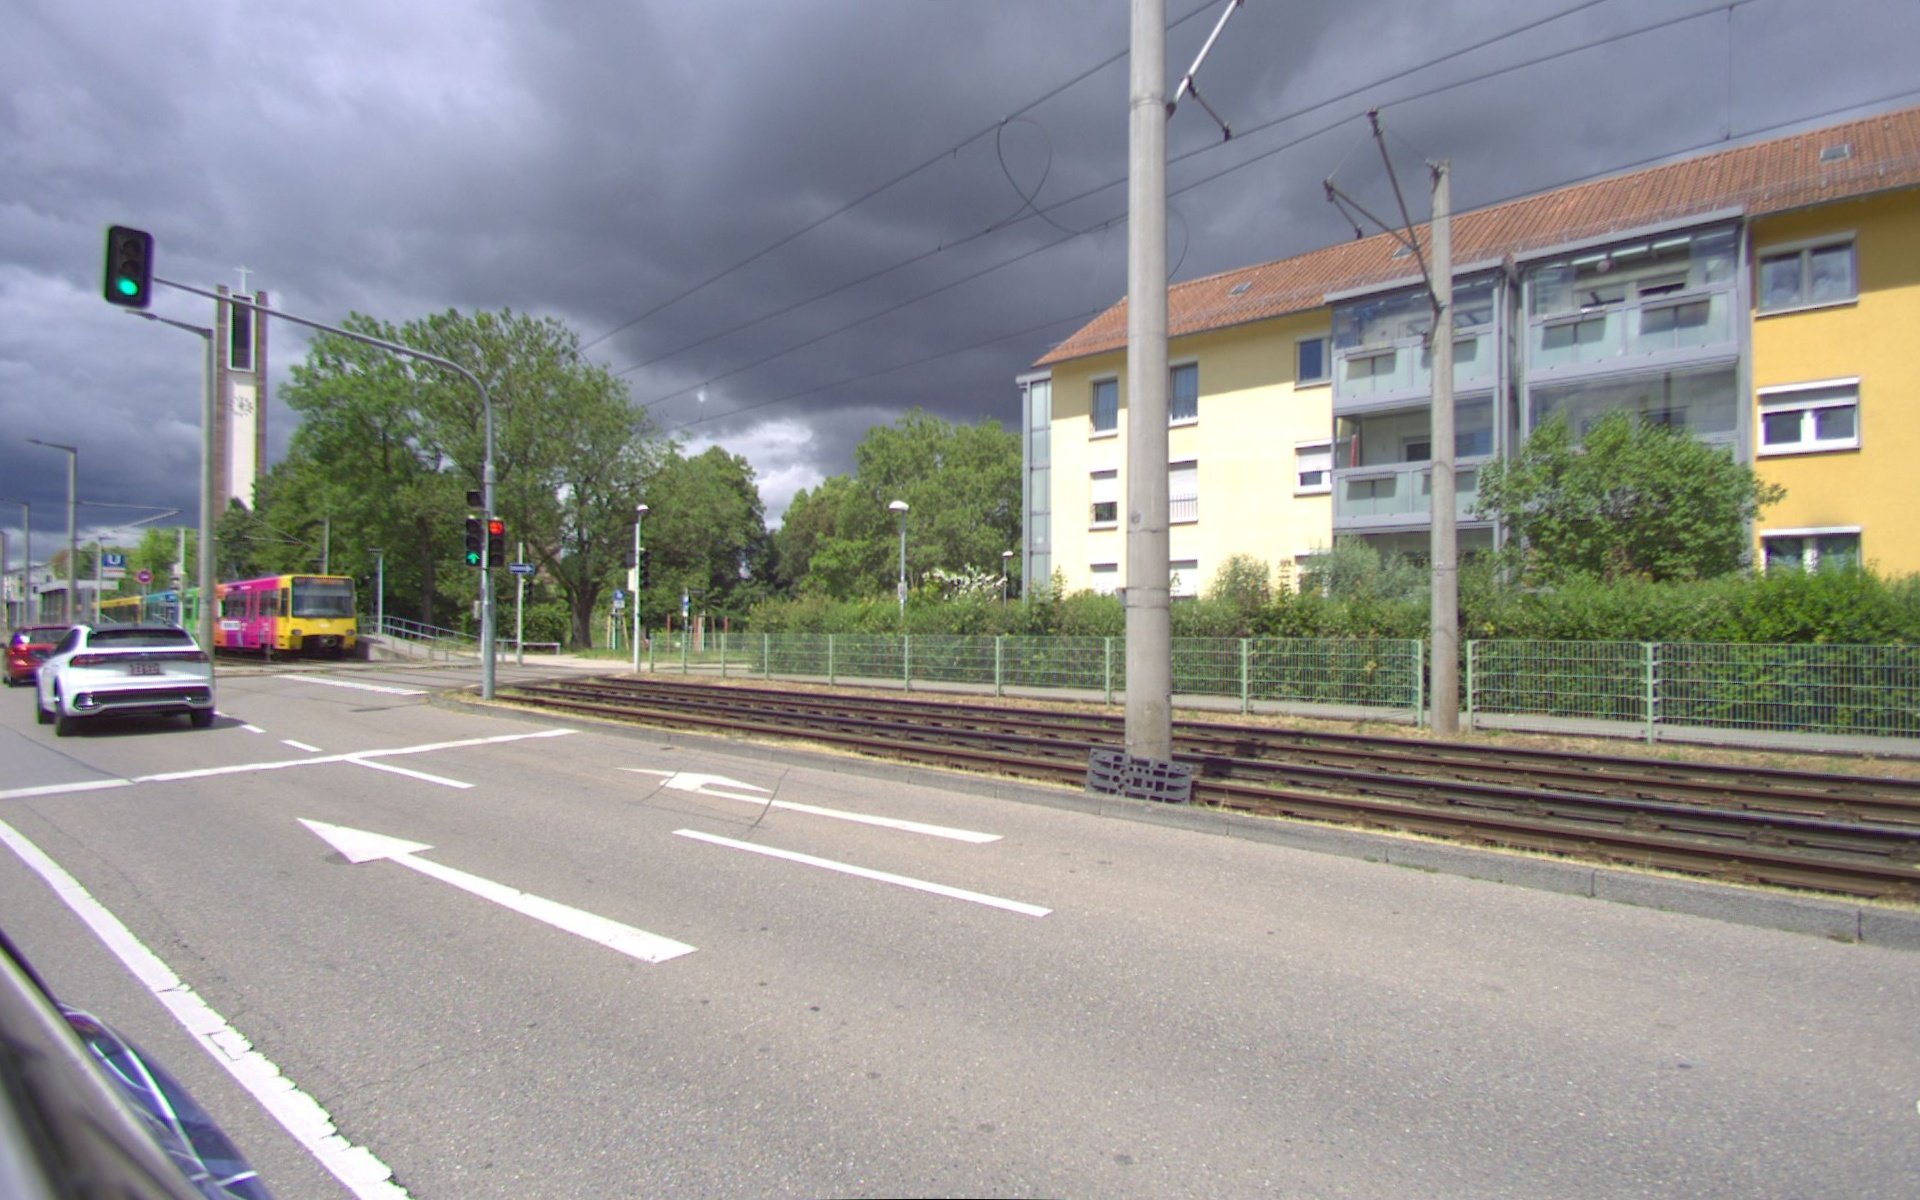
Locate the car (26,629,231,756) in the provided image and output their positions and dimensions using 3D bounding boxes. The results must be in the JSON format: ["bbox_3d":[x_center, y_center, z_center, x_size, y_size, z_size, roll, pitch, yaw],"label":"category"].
[{"bbox_3d":[-12.251,1.231,14.826,3.999,1.564,1.741,-1,-1,42],"label":"car"}]

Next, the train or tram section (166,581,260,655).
[{"bbox_3d":[-42.542,1.004,57.486,8.380,3.892,2.947,-1,-1,44],"label":"train or tram section"}]

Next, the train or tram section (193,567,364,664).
[{"bbox_3d":[-32.858,0.768,48.099,18.543,3.892,2.947,-1,-1,44],"label":"train or tram section"}]

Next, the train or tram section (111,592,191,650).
[{"bbox_3d":[-58.371,1.484,72.836,12.204,3.892,2.947,-1,-1,44],"label":"train or tram section"}]

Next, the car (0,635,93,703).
[{"bbox_3d":[-23.880,1.723,26.285,4.000,1.564,1.645,-1,-1,43],"label":"car"}]

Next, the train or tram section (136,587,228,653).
[{"bbox_3d":[-49.754,1.274,64.524,11.789,3.892,2.947,-1,-1,44],"label":"train or tram section"}]
